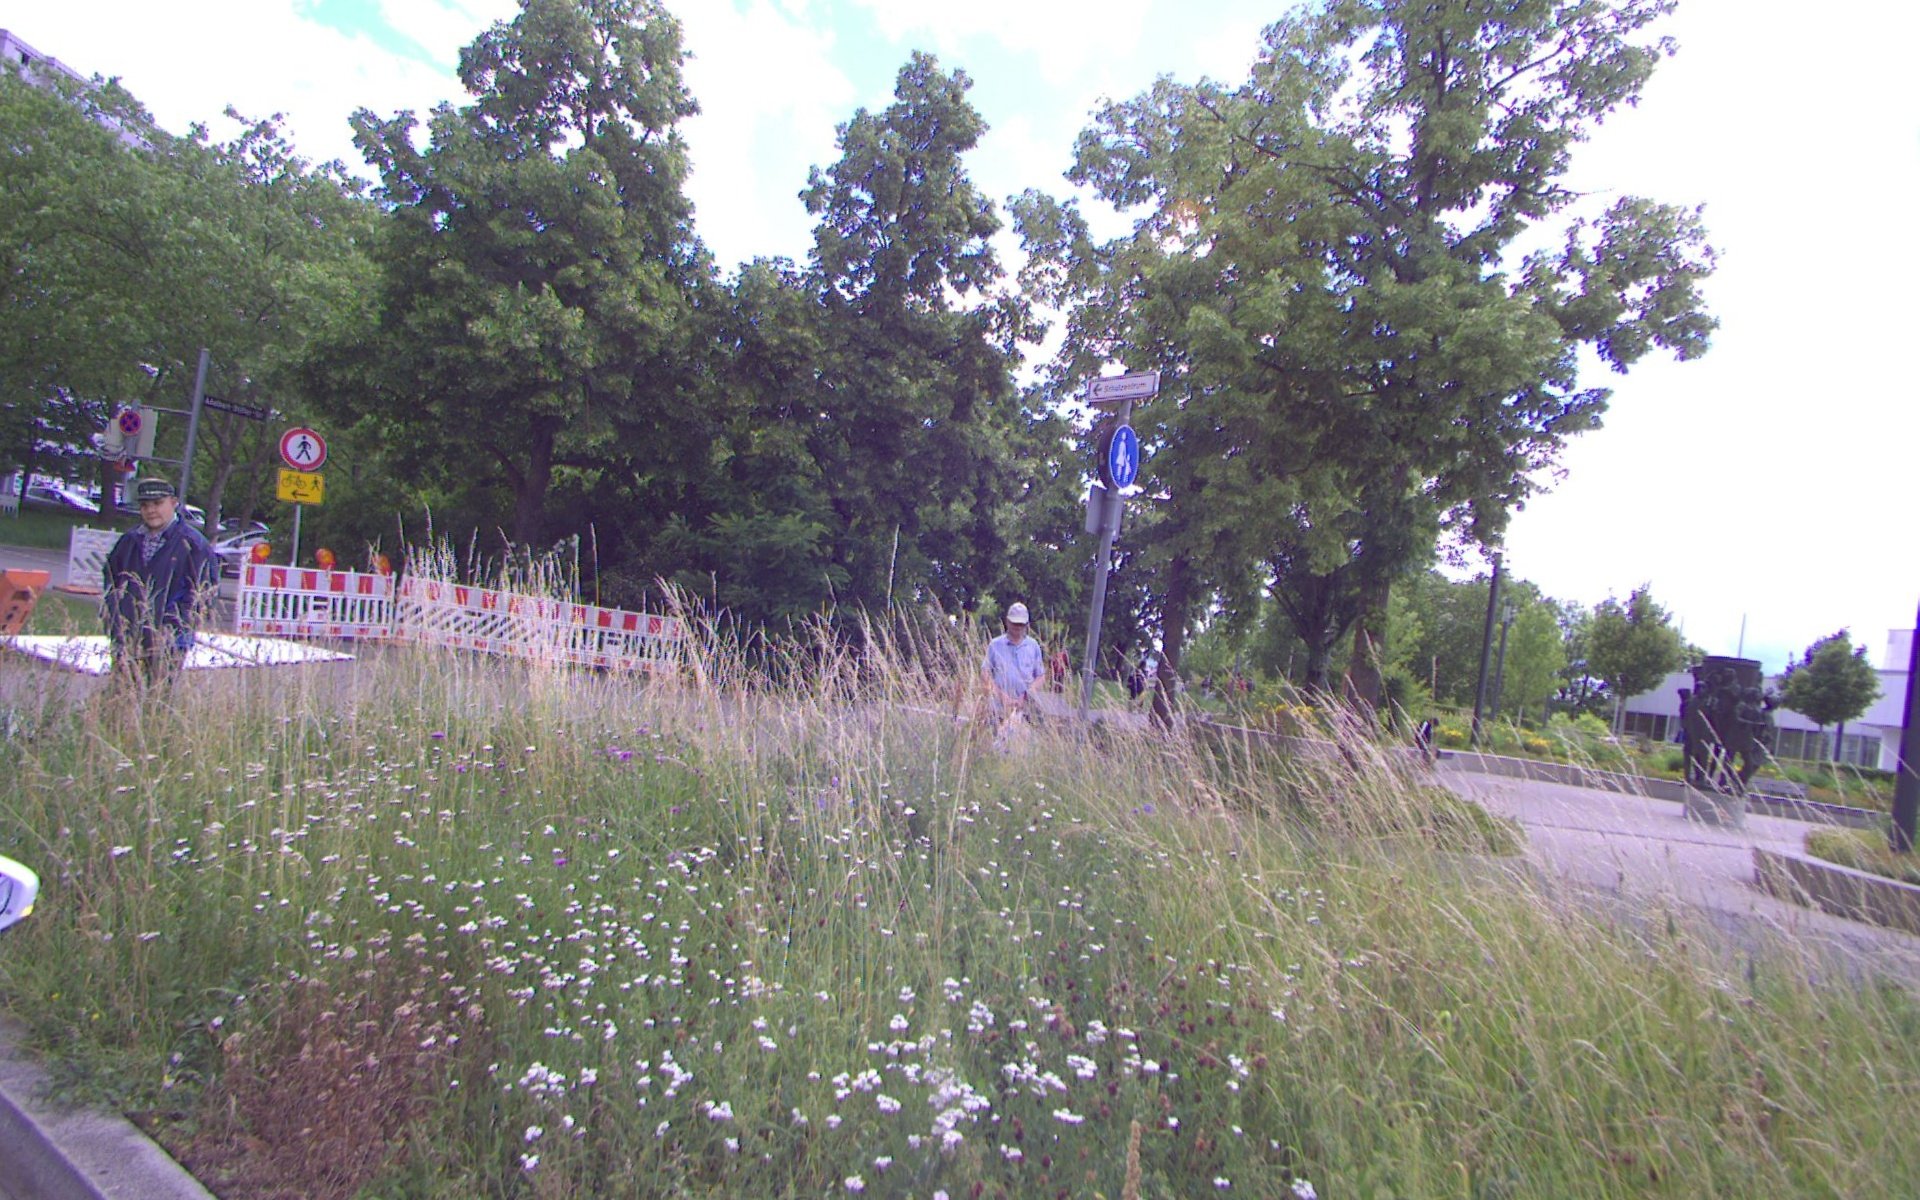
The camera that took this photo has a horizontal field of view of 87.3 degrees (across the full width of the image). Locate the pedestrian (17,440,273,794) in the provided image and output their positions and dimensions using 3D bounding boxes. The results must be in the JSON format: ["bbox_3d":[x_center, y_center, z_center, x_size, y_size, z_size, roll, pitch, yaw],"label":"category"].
[{"bbox_3d":[-4.517,0.100,5.671,0.719,1.761,0.950,8,-1,-25],"label":"pedestrian"}]

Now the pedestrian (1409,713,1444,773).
[{"bbox_3d":[10.767,3.287,23.202,0.560,1.277,0.582,7,-1,29],"label":"pedestrian"}]

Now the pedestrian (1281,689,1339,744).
[{"bbox_3d":[7.199,2.392,20.717,0.703,0.959,0.747,8,-1,-21],"label":"pedestrian"}]

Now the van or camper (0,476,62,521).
[{"bbox_3d":[-44.308,-4.850,46.501,3.925,1.704,1.847,8,-1,4],"label":"van or camper"}]

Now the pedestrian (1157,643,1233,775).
[{"bbox_3d":[3.281,1.506,14.032,0.685,1.715,0.651,7,0,28],"label":"pedestrian"}]

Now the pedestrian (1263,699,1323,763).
[{"bbox_3d":[5.208,2.032,15.721,0.685,0.874,0.651,7,0,28],"label":"pedestrian"}]

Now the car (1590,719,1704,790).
[{"bbox_3d":[22.785,5.076,33.494,1.606,1.786,3.509,7,-2,9],"label":"car"}]

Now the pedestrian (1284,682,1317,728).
[{"bbox_3d":[13.343,4.097,39.409,0.974,1.671,0.871,7,0,21],"label":"pedestrian"}]

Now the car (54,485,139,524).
[{"bbox_3d":[-54.465,-5.998,63.460,3.751,1.653,1.674,9,-1,1],"label":"car"}]

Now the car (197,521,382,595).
[{"bbox_3d":[-20.951,-1.263,31.642,1.744,1.604,4.405,6,-2,33],"label":"car"}]

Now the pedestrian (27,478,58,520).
[{"bbox_3d":[-49.011,-5.390,53.719,0.838,2.025,0.806,7,-1,27],"label":"pedestrian"}]

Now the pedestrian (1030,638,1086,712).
[{"bbox_3d":[2.430,1.852,24.937,0.974,1.671,0.871,7,0,21],"label":"pedestrian"}]

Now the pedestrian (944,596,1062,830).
[{"bbox_3d":[0.347,0.924,8.486,0.715,1.812,0.693,8,0,-2],"label":"pedestrian"}]

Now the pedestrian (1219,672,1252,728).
[{"bbox_3d":[8.000,2.891,29.202,0.624,1.519,0.704,7,0,29],"label":"pedestrian"}]

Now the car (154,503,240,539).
[{"bbox_3d":[-44.639,-4.603,58.900,3.820,1.482,1.486,7,-1,1],"label":"car"}]

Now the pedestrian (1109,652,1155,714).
[{"bbox_3d":[5.081,2.448,29.719,0.974,1.671,0.871,7,0,21],"label":"pedestrian"}]

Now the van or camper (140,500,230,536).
[{"bbox_3d":[-43.490,-4.595,56.518,3.706,1.372,1.519,8,-2,-1],"label":"van or camper"}]

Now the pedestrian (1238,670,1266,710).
[{"bbox_3d":[13.328,4.104,45.863,0.974,1.671,0.871,7,0,21],"label":"pedestrian"}]

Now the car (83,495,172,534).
[{"bbox_3d":[-43.774,-4.498,52.942,3.345,1.420,1.486,7,-2,2],"label":"car"}]
